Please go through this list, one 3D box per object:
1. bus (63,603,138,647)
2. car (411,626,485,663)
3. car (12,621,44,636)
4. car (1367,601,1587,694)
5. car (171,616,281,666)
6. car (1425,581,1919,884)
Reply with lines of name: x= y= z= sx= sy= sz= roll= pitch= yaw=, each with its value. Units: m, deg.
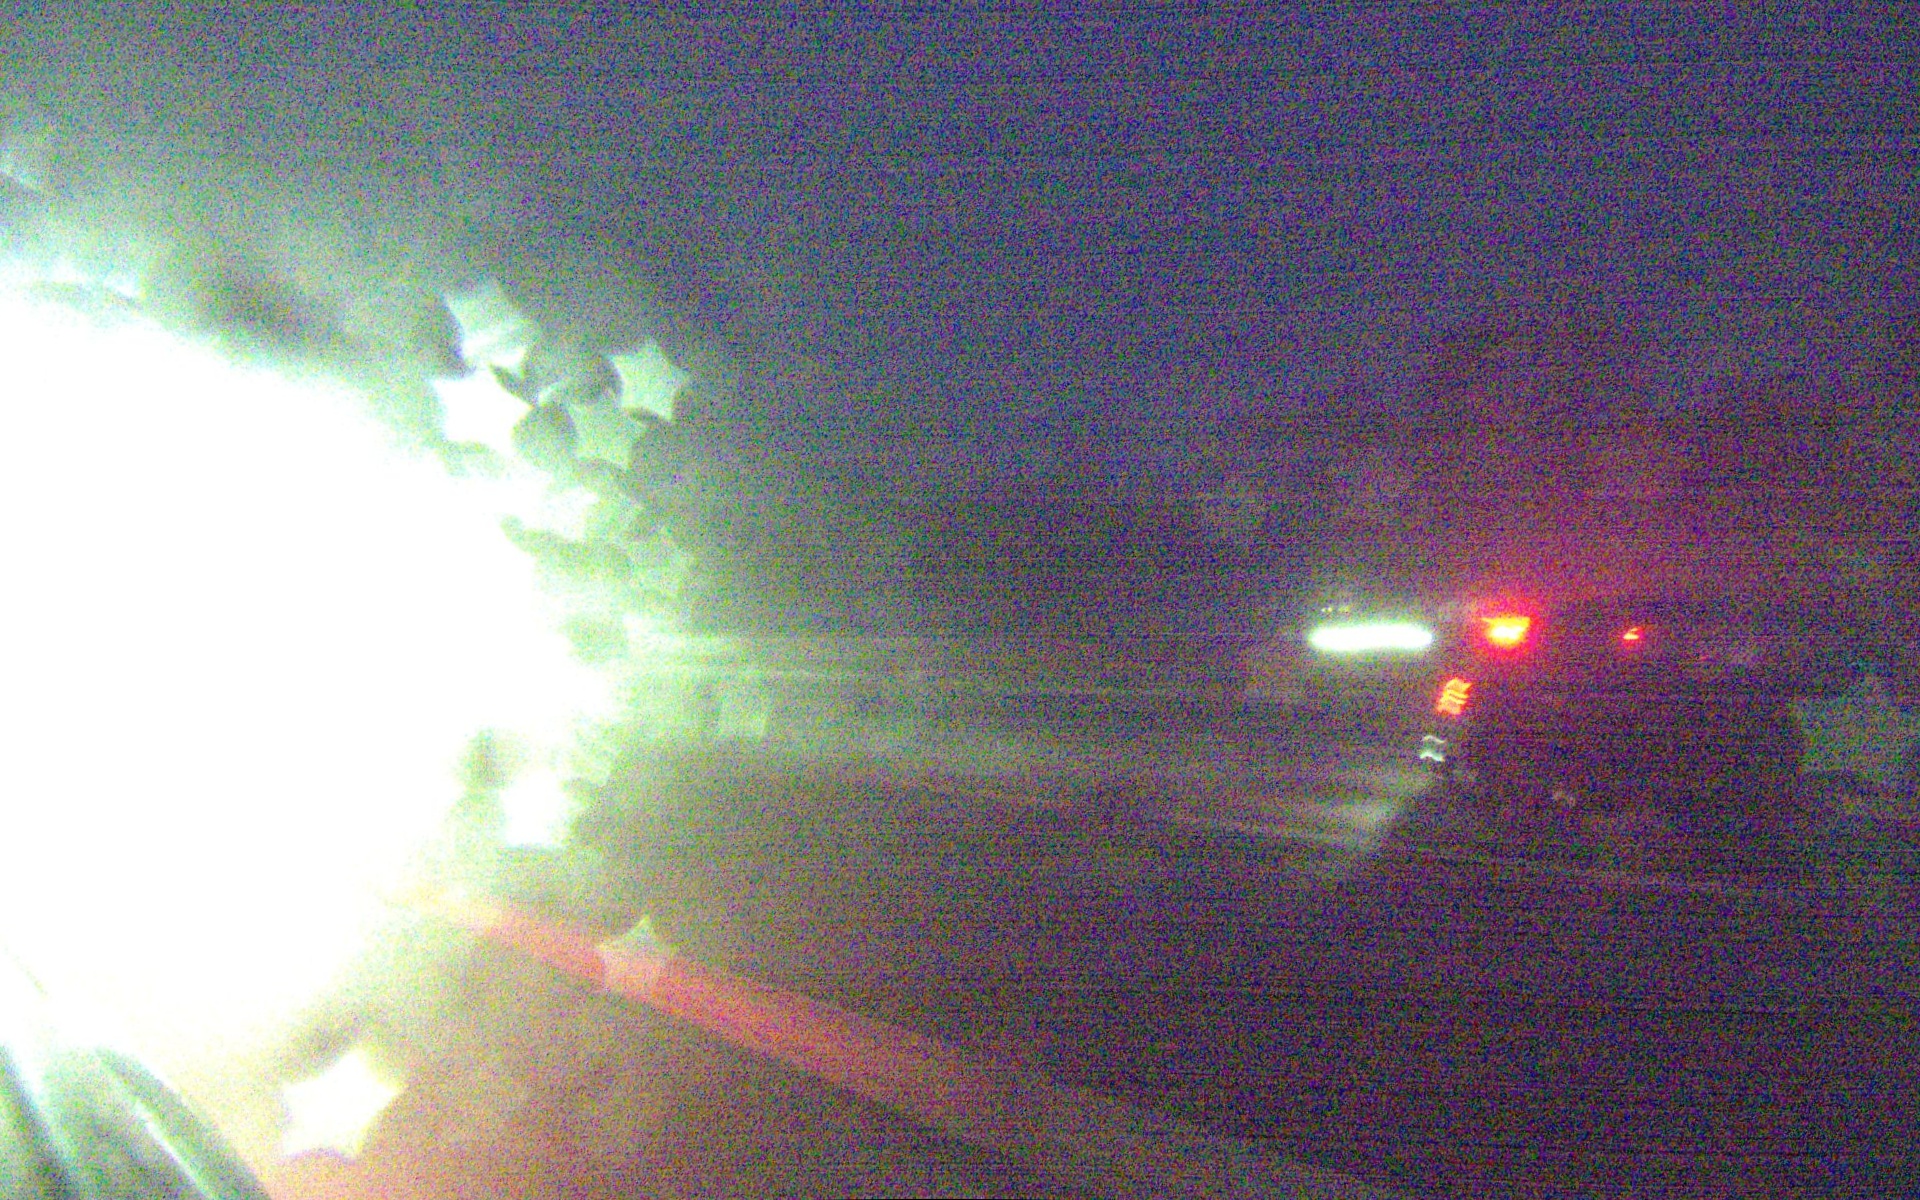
bus: x=-94.856 y=2.725 z=111.525 sx=16.990 sy=4.523 sz=3.045 roll=-1 pitch=0 yaw=39
car: x=-27.180 y=2.323 z=53.664 sx=3.992 sy=1.821 sz=1.887 roll=-1 pitch=0 yaw=36
car: x=-103.270 y=3.129 z=112.123 sx=4.454 sy=1.569 sz=1.862 roll=-1 pitch=0 yaw=38
car: x=11.308 y=0.988 z=22.248 sx=3.996 sy=1.821 sz=1.885 roll=-1 pitch=0 yaw=39
car: x=-25.683 y=1.401 z=35.367 sx=4.583 sy=1.572 sz=1.974 roll=-1 pitch=0 yaw=39
car: x=5.065 y=0.633 z=5.813 sx=3.995 sy=1.452 sz=1.974 roll=-1 pitch=0 yaw=39
